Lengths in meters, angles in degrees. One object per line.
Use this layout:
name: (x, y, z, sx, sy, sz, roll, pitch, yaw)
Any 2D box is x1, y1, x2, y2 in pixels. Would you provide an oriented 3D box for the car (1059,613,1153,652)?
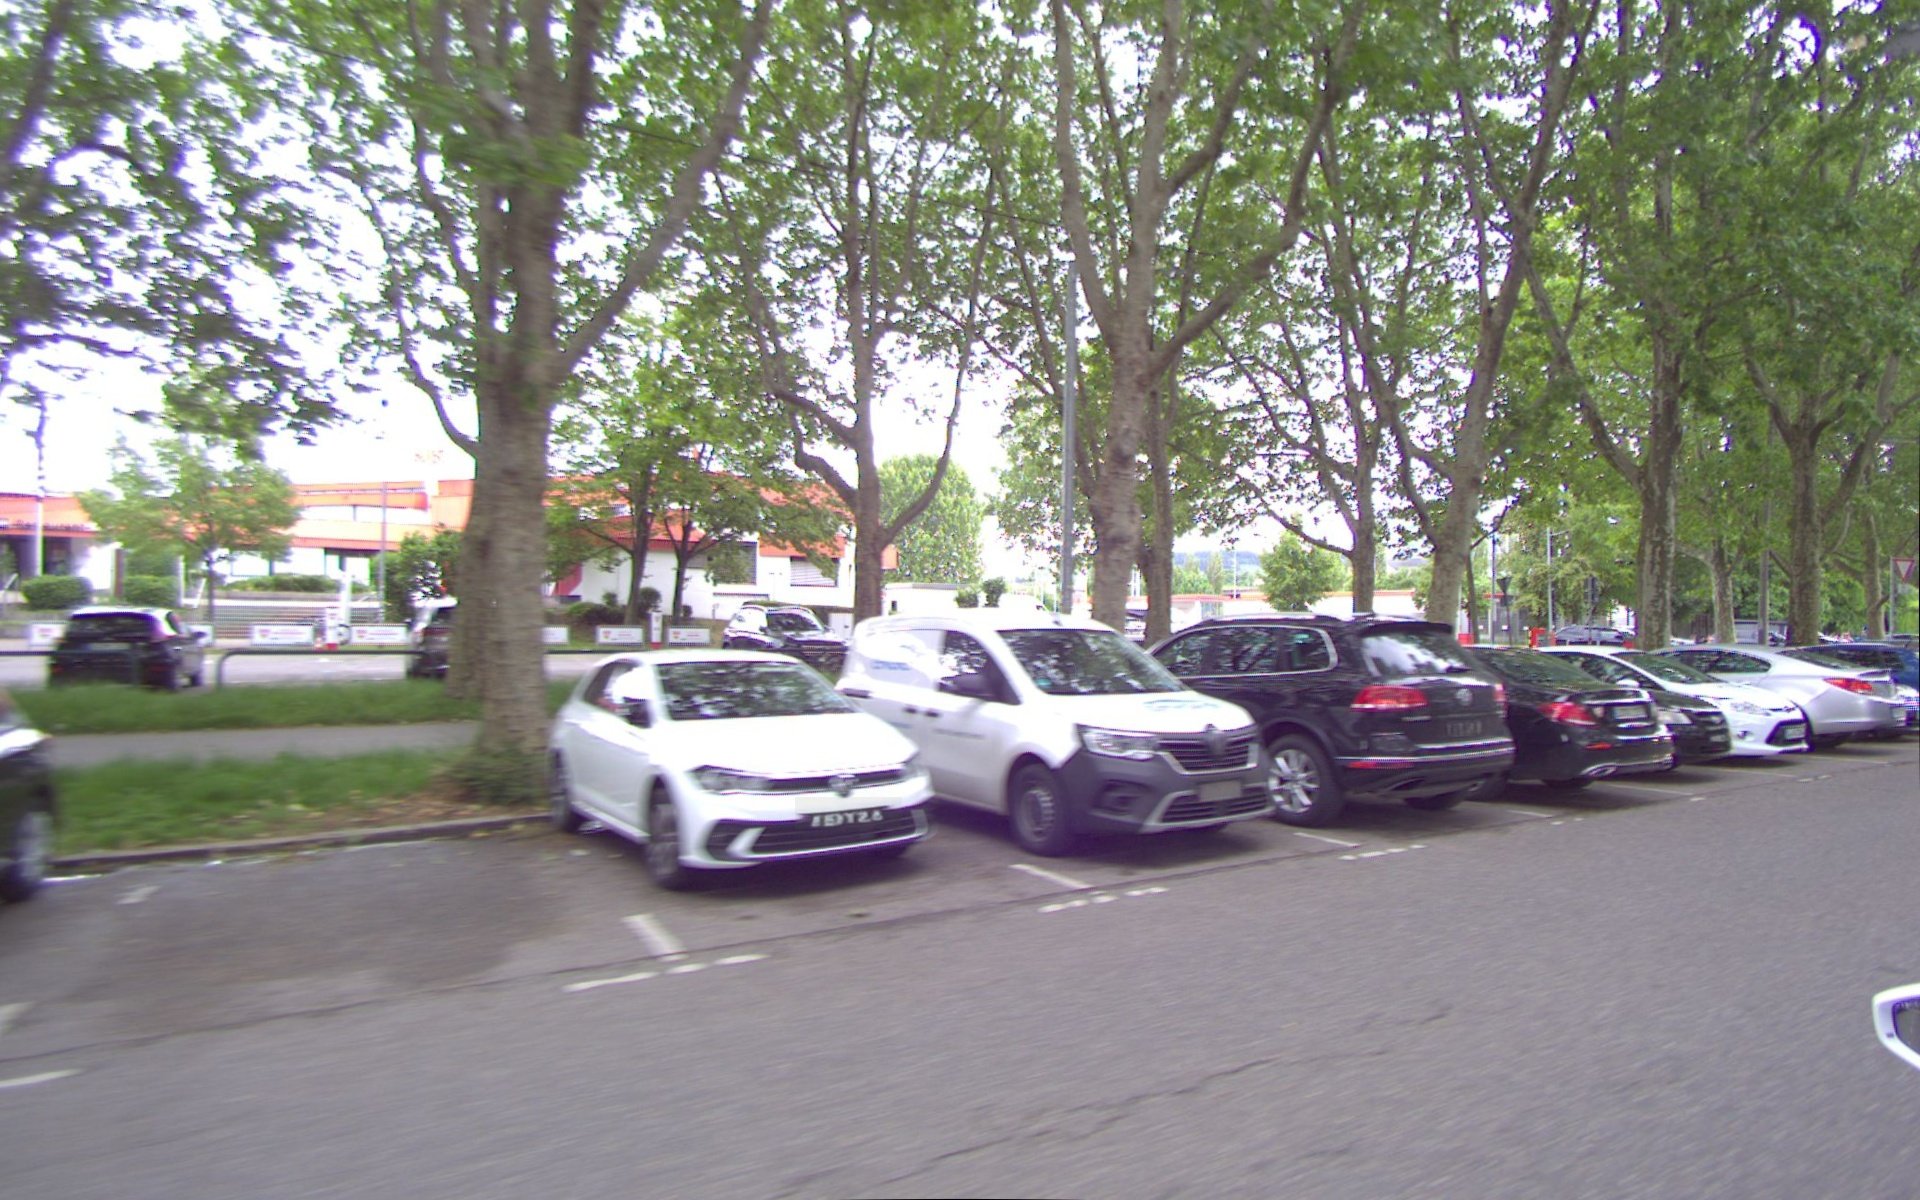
car: (6.228, 1.382, 43.340, 1.770, 1.569, 4.196, 2, -1, -31)

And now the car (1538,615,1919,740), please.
car: (11.265, 1.119, 14.940, 1.887, 1.568, 4.242, 2, -4, -32)

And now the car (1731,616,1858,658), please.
car: (43.321, 1.888, 52.241, 2.234, 2.052, 4.599, 2, -1, -27)

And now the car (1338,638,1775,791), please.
car: (6.999, 1.223, 12.238, 1.946, 1.372, 4.166, 2, -1, -32)

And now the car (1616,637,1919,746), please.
car: (13.435, 1.397, 16.598, 1.840, 1.424, 3.968, 2, -1, -30)

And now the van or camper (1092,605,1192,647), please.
van or camper: (8.077, 1.142, 44.915, 2.107, 1.732, 4.299, 2, -1, -31)

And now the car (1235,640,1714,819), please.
car: (5.136, 1.215, 10.664, 1.988, 1.471, 4.114, 1, -4, -28)

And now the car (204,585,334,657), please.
car: (-19.746, 0.580, 28.933, 2.265, 1.880, 4.565, 2, -1, -25)

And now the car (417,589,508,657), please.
car: (-15.028, 0.671, 30.540, 2.265, 1.880, 4.565, 2, -1, -25)

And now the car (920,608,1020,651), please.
car: (0.328, 1.131, 39.398, 1.937, 1.569, 4.299, 2, -1, -31)

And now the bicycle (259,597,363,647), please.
bicycle: (-21.276, 0.736, 33.004, 2.769, 1.560, 1.044, 2, -1, -30)

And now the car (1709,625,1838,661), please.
car: (40.880, 2.129, 50.597, 2.082, 1.588, 4.608, 3, -1, -27)

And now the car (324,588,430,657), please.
car: (-17.302, 0.655, 30.036, 2.265, 1.880, 4.565, 2, -1, -25)

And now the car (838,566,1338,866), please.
car: (0.754, 0.809, 8.473, 1.848, 1.834, 4.293, 1, -3, -33)

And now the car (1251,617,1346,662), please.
car: (13.269, 1.504, 39.175, 2.066, 1.572, 4.960, 1, -1, 37)

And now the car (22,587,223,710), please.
car: (-14.554, 0.760, 17.739, 2.005, 1.885, 4.299, 2, -1, -31)

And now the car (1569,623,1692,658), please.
car: (28.745, 1.719, 43.181, 1.979, 1.341, 3.967, 2, -1, -30)

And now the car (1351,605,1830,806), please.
car: (6.918, 1.069, 11.561, 1.845, 1.834, 4.298, 1, -3, -30)

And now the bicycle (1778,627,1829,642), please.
bicycle: (69.733, 2.828, 83.083, 3.148, 1.112, 0.768, 1, -1, 45)

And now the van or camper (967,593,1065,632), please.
van or camper: (3.128, 0.729, 55.989, 5.243, 2.040, 1.983, 2, -1, -32)

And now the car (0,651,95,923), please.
car: (-5.612, 0.953, 4.450, 1.733, 1.439, 3.966, 1, -3, -27)

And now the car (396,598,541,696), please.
car: (-10.067, 0.860, 20.366, 2.270, 1.748, 4.529, 2, -1, -31)

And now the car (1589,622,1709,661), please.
car: (30.780, 1.832, 44.994, 1.978, 1.543, 3.969, 2, -1, -29)

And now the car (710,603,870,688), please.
car: (-4.132, 1.002, 23.828, 2.270, 1.785, 4.496, 2, -1, -31)

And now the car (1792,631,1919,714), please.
car: (19.657, 1.485, 20.333, 1.783, 1.561, 3.977, 2, -1, -28)

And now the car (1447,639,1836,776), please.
car: (9.020, 1.312, 13.638, 1.864, 1.423, 3.967, 2, -1, -31)

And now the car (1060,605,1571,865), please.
car: (3.022, 0.997, 9.508, 2.012, 1.819, 4.297, 2, -1, -30)

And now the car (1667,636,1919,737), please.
car: (15.353, 1.469, 18.017, 1.811, 1.513, 3.975, 2, -1, -30)

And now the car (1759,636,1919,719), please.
car: (17.773, 1.452, 18.822, 1.887, 1.403, 3.980, 2, -1, -26)

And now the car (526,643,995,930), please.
car: (-1.650, 1.078, 7.299, 1.751, 1.491, 3.751, 1, -3, -40)

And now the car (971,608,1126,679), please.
car: (2.326, 1.123, 27.478, 2.107, 1.732, 4.299, 2, -1, -31)
